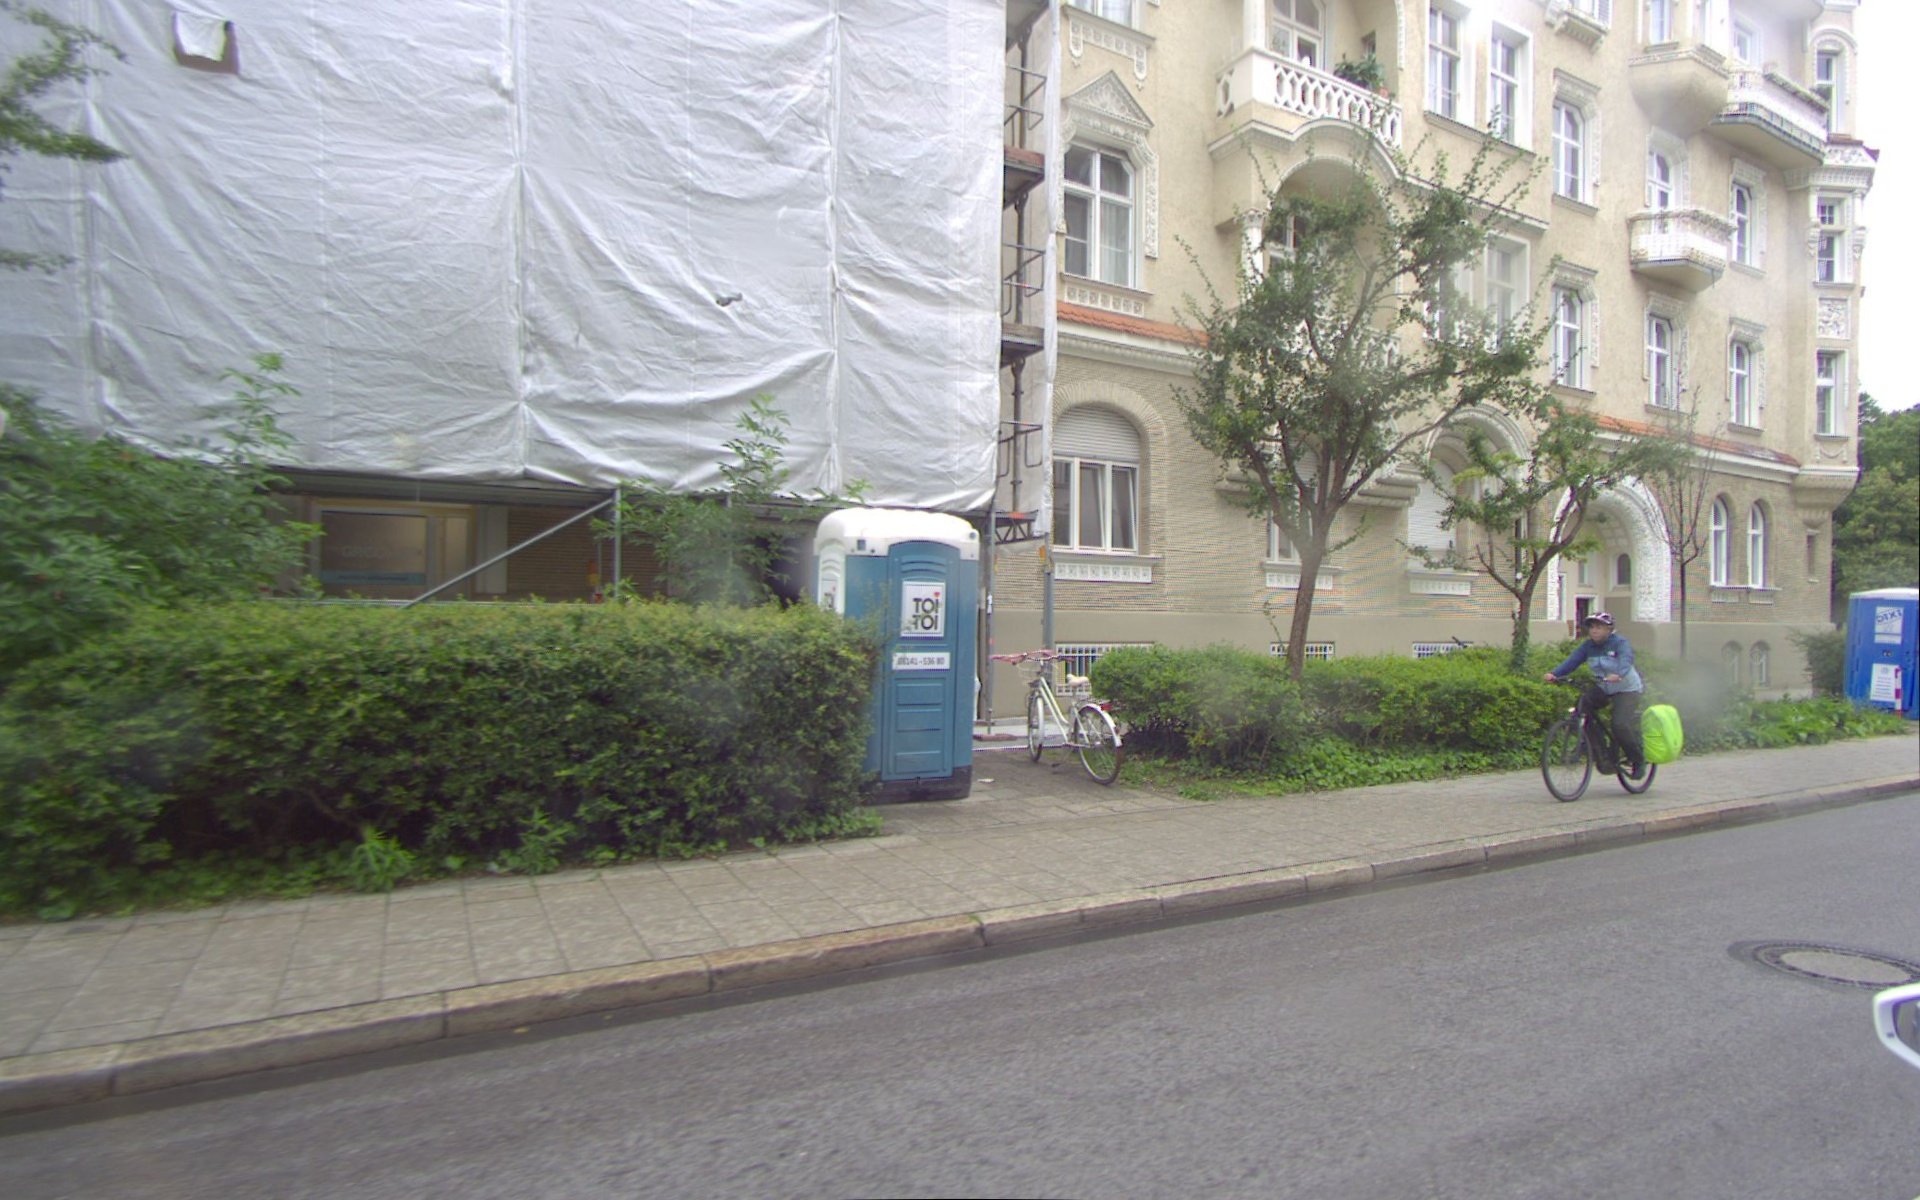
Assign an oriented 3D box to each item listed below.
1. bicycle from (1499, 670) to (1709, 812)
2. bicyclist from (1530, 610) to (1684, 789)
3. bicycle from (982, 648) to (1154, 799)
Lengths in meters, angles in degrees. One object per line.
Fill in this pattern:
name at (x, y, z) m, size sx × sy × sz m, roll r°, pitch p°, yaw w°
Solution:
bicycle at (5.901, 1.231, 9.173) m, size 2.026 × 1.096 × 0.764 m, roll 1°, pitch 0°, yaw -30°
bicyclist at (5.895, 0.865, 9.154) m, size 1.048 × 1.512 × 0.764 m, roll 1°, pitch 0°, yaw -30°
bicycle at (0.953, 1.081, 9.387) m, size 0.681 × 1.092 × 1.853 m, roll 1°, pitch 3°, yaw -26°
